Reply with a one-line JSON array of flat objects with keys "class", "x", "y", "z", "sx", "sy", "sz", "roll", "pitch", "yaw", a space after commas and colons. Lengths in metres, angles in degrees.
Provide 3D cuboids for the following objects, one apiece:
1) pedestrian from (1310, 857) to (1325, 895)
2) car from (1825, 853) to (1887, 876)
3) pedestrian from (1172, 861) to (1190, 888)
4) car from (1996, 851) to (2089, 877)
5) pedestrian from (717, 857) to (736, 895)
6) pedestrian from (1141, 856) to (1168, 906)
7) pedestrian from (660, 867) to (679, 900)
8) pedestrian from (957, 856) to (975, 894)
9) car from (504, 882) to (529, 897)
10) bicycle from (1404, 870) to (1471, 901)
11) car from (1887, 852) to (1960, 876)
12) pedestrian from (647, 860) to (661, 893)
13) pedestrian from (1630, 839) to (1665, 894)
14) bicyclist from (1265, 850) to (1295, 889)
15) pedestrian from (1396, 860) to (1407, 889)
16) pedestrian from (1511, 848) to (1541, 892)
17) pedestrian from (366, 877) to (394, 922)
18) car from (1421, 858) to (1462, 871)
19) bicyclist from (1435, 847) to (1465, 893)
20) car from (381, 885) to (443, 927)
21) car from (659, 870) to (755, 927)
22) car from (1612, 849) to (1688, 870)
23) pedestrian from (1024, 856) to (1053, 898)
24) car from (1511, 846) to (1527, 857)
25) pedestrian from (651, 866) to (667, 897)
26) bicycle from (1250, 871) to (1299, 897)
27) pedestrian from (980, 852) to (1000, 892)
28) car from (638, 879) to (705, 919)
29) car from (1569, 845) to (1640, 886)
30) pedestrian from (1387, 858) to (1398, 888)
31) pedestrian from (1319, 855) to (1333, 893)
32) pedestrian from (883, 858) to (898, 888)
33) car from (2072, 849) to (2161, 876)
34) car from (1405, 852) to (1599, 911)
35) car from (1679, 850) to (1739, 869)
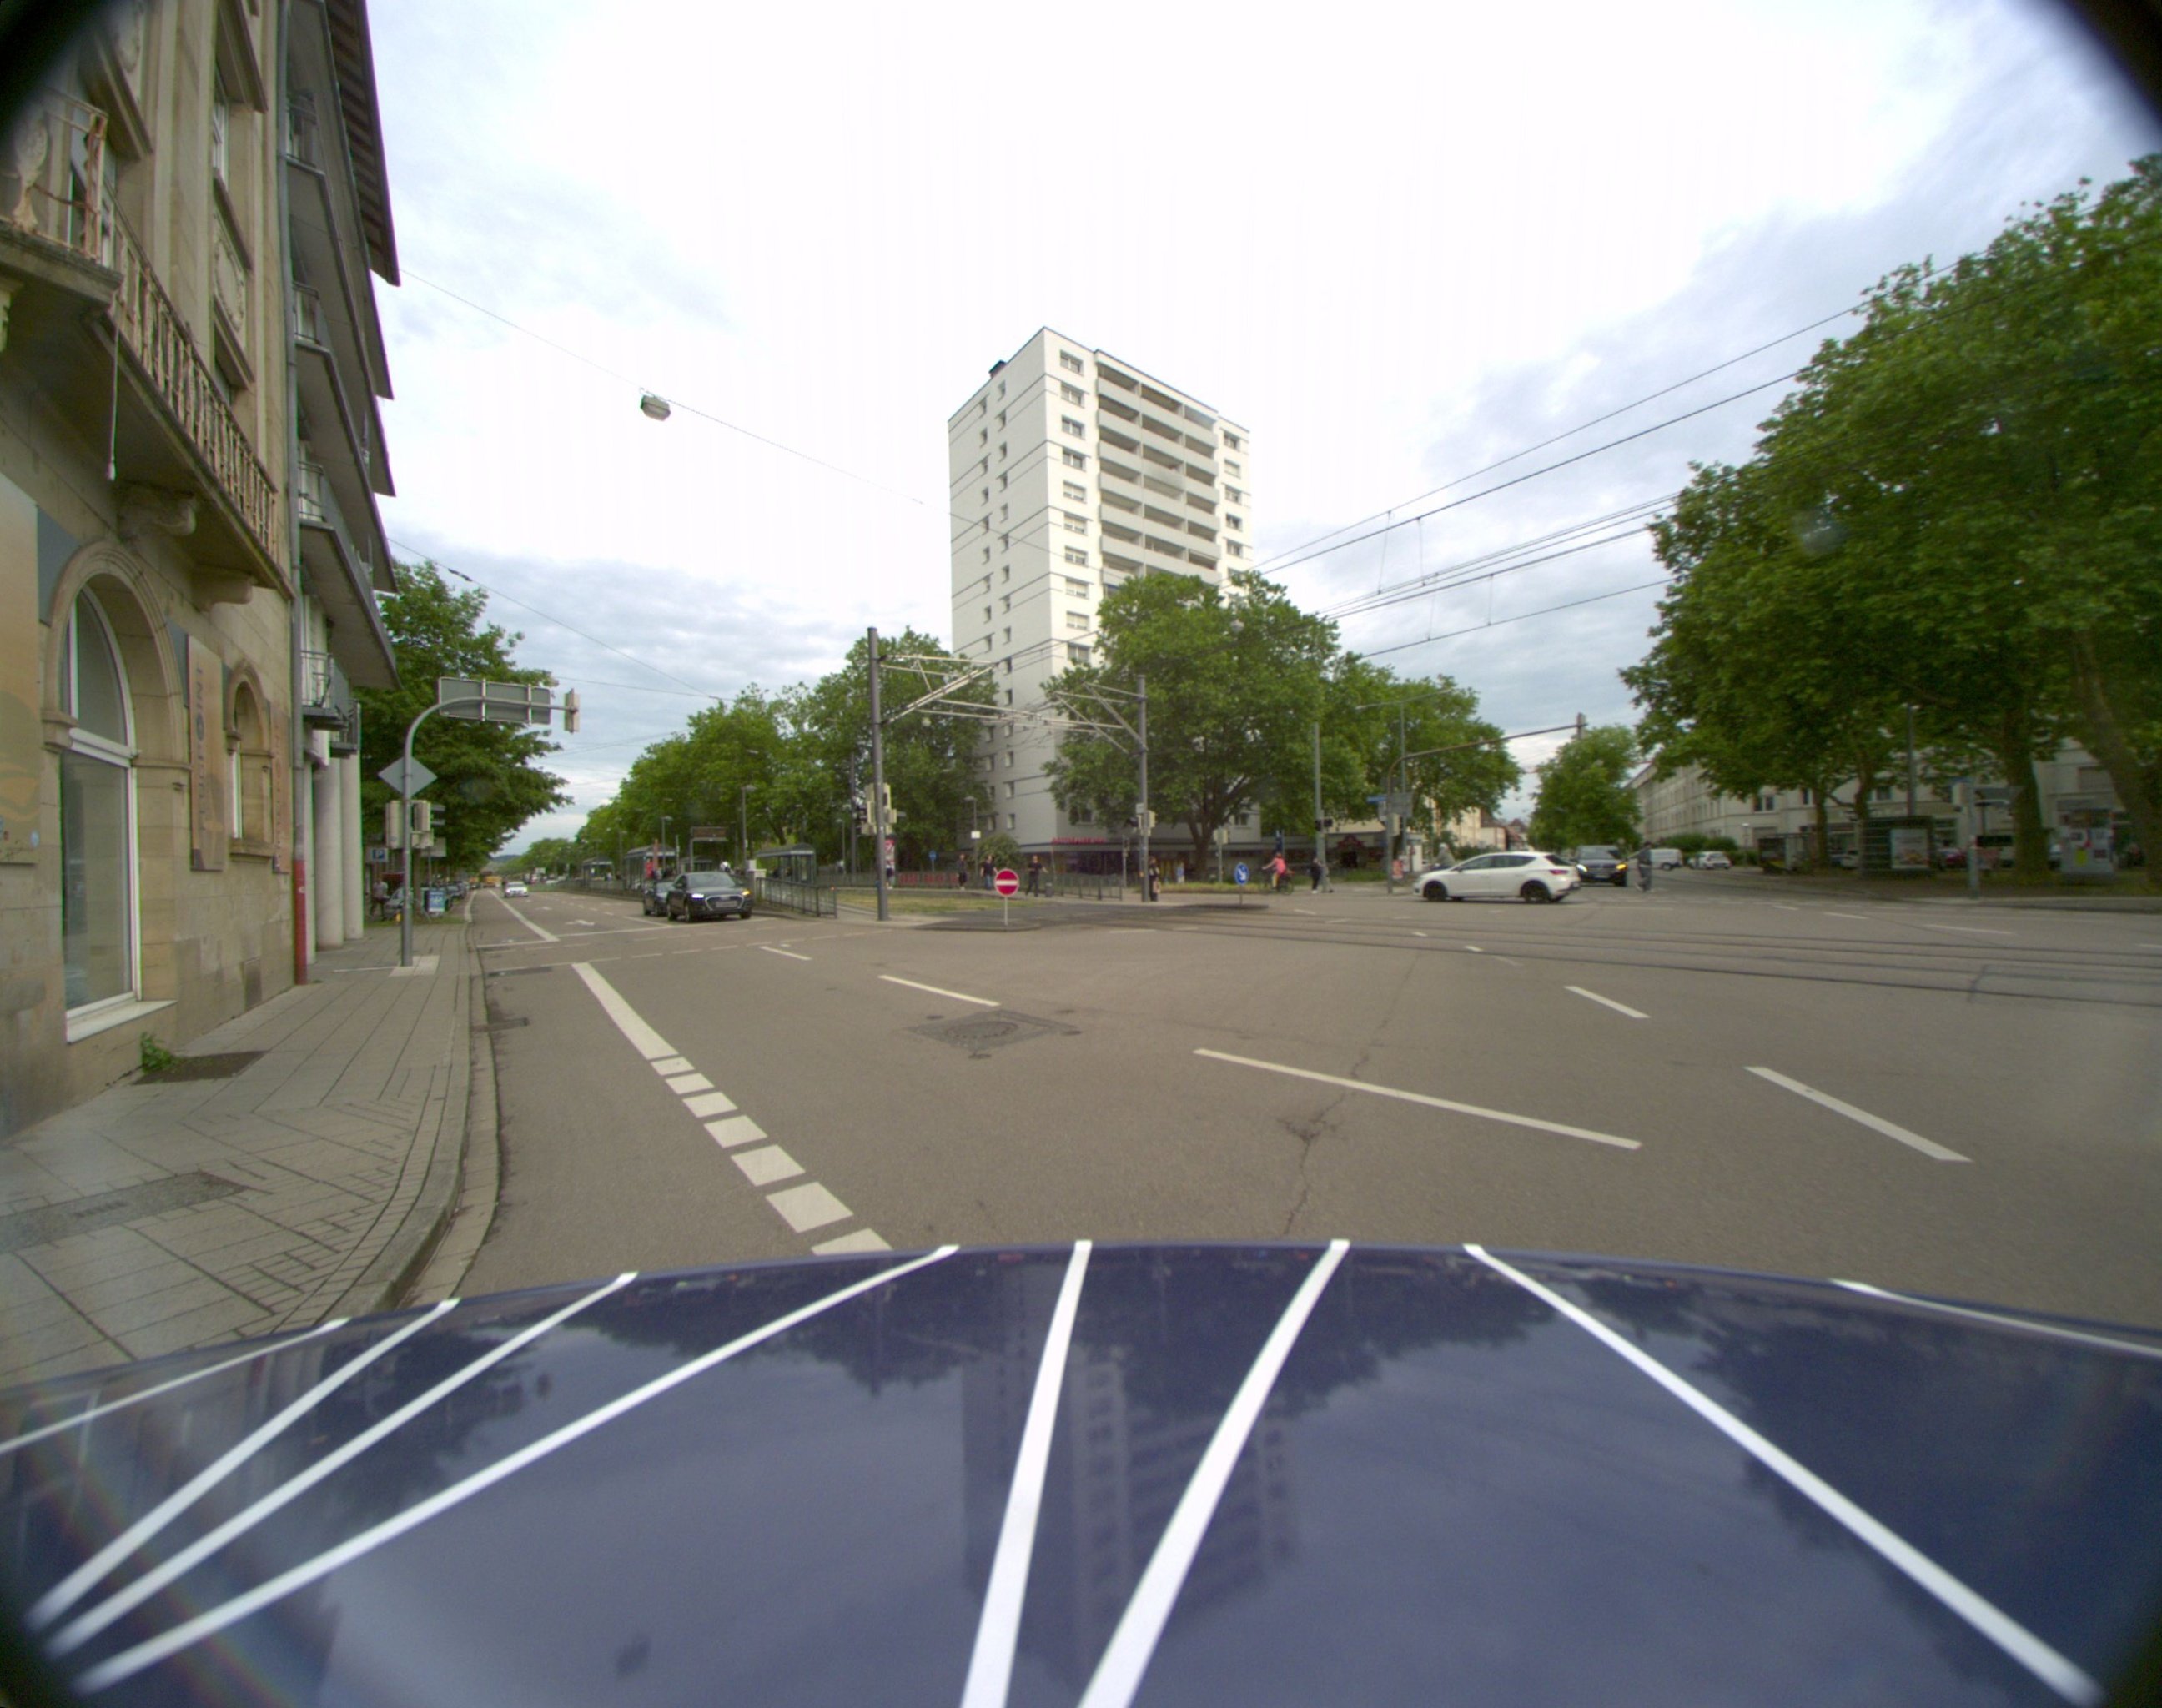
[{"class": "pedestrian", "x": 10.157, "y": 0.936, "z": 32.635, "sx": 0.523, "sy": 1.602, "sz": 0.527, "roll": -2, "pitch": 1, "yaw": 20}, {"class": "car", "x": 50.970, "y": 0.667, "z": 50.074, "sx": 1.994, "sy": 1.381, "sz": 4.842, "roll": -2, "pitch": -1, "yaw": 35}, {"class": "pedestrian", "x": 5.571, "y": 1.135, "z": 42.324, "sx": 0.555, "sy": 1.500, "sz": 0.851, "roll": -3, "pitch": 1, "yaw": -33}, {"class": "car", "x": 54.428, "y": 0.524, "z": 43.137, "sx": 1.994, "sy": 1.381, "sz": 4.842, "roll": -2, "pitch": -1, "yaw": 35}, {"class": "pedestrian", "x": -16.680, "y": 1.031, "z": 35.751, "sx": 0.664, "sy": 1.741, "sz": 0.533, "roll": -3, "pitch": 1, "yaw": -37}, {"class": "pedestrian", "x": 2.623, "y": 0.957, "z": 27.080, "sx": 0.657, "sy": 1.740, "sz": 0.626, "roll": -3, "pitch": 1, "yaw": -36}, {"class": "pedestrian", "x": -22.975, "y": 1.627, "z": 42.460, "sx": 0.662, "sy": 1.781, "sz": 0.534, "roll": -2, "pitch": 1, "yaw": 2}, {"class": "pedestrian", "x": -5.504, "y": 1.014, "z": 36.331, "sx": 0.623, "sy": 1.779, "sz": 0.533, "roll": -3, "pitch": 1, "yaw": -37}, {"class": "car", "x": -54.616, "y": 3.415, "z": 73.518, "sx": 1.870, "sy": 1.339, "sz": 3.805, "roll": 1, "pitch": -2, "yaw": -38}, {"class": "bicycle", "x": 12.322, "y": 1.076, "z": 26.344, "sx": 0.731, "sy": 1.058, "sz": 1.987, "roll": 1, "pitch": -1, "yaw": -38}, {"class": "car", "x": 52.251, "y": 0.625, "z": 47.232, "sx": 1.994, "sy": 1.381, "sz": 4.842, "roll": -2, "pitch": -1, "yaw": 35}, {"class": "pedestrian", "x": -27.328, "y": 1.447, "z": 48.623, "sx": 0.587, "sy": 2.038, "sz": 0.819, "roll": -3, "pitch": 1, "yaw": -35}, {"class": "pedestrian", "x": 19.984, "y": 0.440, "z": 26.815, "sx": 0.688, "sy": 1.875, "sz": 0.689, "roll": -2, "pitch": 1, "yaw": 8}, {"class": "bicyclist", "x": 8.350, "y": 0.647, "z": 31.943, "sx": 0.709, "sy": 1.627, "sz": 0.991, "roll": 1, "pitch": -2, "yaw": -39}, {"class": "pedestrian", "x": 15.109, "y": 0.976, "z": 35.796, "sx": 0.416, "sy": 1.357, "sz": 0.392, "roll": -2, "pitch": 1, "yaw": 25}, {"class": "pedestrian", "x": 17.338, "y": 0.631, "z": 29.615, "sx": 0.808, "sy": 1.680, "sz": 0.754, "roll": -1, "pitch": 0, "yaw": -42}, {"class": "pedestrian", "x": -31.052, "y": 2.010, "z": 33.650, "sx": 0.654, "sy": 1.922, "sz": 0.642, "roll": -3, "pitch": 1, "yaw": -23}, {"class": "car", "x": 41.405, "y": 1.231, "z": 87.326, "sx": 3.989, "sy": 1.368, "sz": 1.821, "roll": -2, "pitch": 1, "yaw": 36}, {"class": "bicyclist", "x": 12.612, "y": 0.541, "z": 25.985, "sx": 0.586, "sy": 1.552, "sz": 0.755, "roll": 1, "pitch": -2, "yaw": -38}, {"class": "car", "x": -28.716, "y": 2.162, "z": 32.718, "sx": 1.735, "sy": 1.651, "sz": 4.093, "roll": 2, "pitch": -2, "yaw": -38}, {"class": "car", "x": -12.406, "y": 1.397, "z": 25.040, "sx": 1.921, "sy": 1.638, "sz": 4.356, "roll": -3, "pitch": 0, "yaw": -38}, {"class": "car", "x": 47.414, "y": 0.481, "z": 63.357, "sx": 4.819, "sy": 1.654, "sz": 2.004, "roll": -2, "pitch": -1, "yaw": 45}, {"class": "pedestrian", "x": -1.727, "y": 0.925, "z": 30.819, "sx": 0.744, "sy": 1.685, "sz": 0.876, "roll": -3, "pitch": 1, "yaw": -37}, {"class": "car", "x": 91.765, "y": -0.505, "z": 159.204, "sx": 1.994, "sy": 2.002, "sz": 4.008, "roll": -2, "pitch": 1, "yaw": 43}, {"class": "pedestrian", "x": -24.678, "y": 1.619, "z": 44.405, "sx": 0.685, "sy": 1.781, "sz": 0.819, "roll": -3, "pitch": 1, "yaw": -35}, {"class": "bicycle", "x": 8.165, "y": 1.254, "z": 32.161, "sx": 0.731, "sy": 1.058, "sz": 1.987, "roll": 1, "pitch": -2, "yaw": -39}, {"class": "pedestrian", "x": -4.123, "y": 0.812, "z": 34.517, "sx": 0.623, "sy": 1.741, "sz": 0.547, "roll": -3, "pitch": 1, "yaw": -37}, {"class": "car", "x": -16.295, "y": 1.728, "z": 30.170, "sx": 1.641, "sy": 1.367, "sz": 4.003, "roll": -3, "pitch": 0, "yaw": -38}, {"class": "car", "x": 23.450, "y": 0.564, "z": 34.015, "sx": 3.748, "sy": 1.708, "sz": 1.907, "roll": 2, "pitch": -3, "yaw": -44}, {"class": "pedestrian", "x": 14.622, "y": 0.900, "z": 35.627, "sx": 0.416, "sy": 1.357, "sz": 0.392, "roll": -2, "pitch": 1, "yaw": 25}, {"class": "pedestrian", "x": 10.409, "y": 0.845, "z": 32.248, "sx": 0.504, "sy": 1.602, "sz": 0.367, "roll": -2, "pitch": 1, "yaw": 20}, {"class": "pedestrian", "x": -10.972, "y": 1.085, "z": 43.817, "sx": 0.623, "sy": 1.659, "sz": 0.563, "roll": -3, "pitch": 1, "yaw": -37}, {"class": "car", "x": 56.892, "y": 0.462, "z": 41.525, "sx": 1.994, "sy": 1.381, "sz": 4.842, "roll": -2, "pitch": -1, "yaw": 35}, {"class": "car", "x": 11.820, "y": 0.739, "z": 21.587, "sx": 1.851, "sy": 1.439, "sz": 4.402, "roll": -3, "pitch": 0, "yaw": -38}, {"class": "car", "x": 52.511, "y": 0.457, "z": 63.602, "sx": 1.801, "sy": 1.477, "sz": 4.001, "roll": -2, "pitch": 0, "yaw": 2}]
